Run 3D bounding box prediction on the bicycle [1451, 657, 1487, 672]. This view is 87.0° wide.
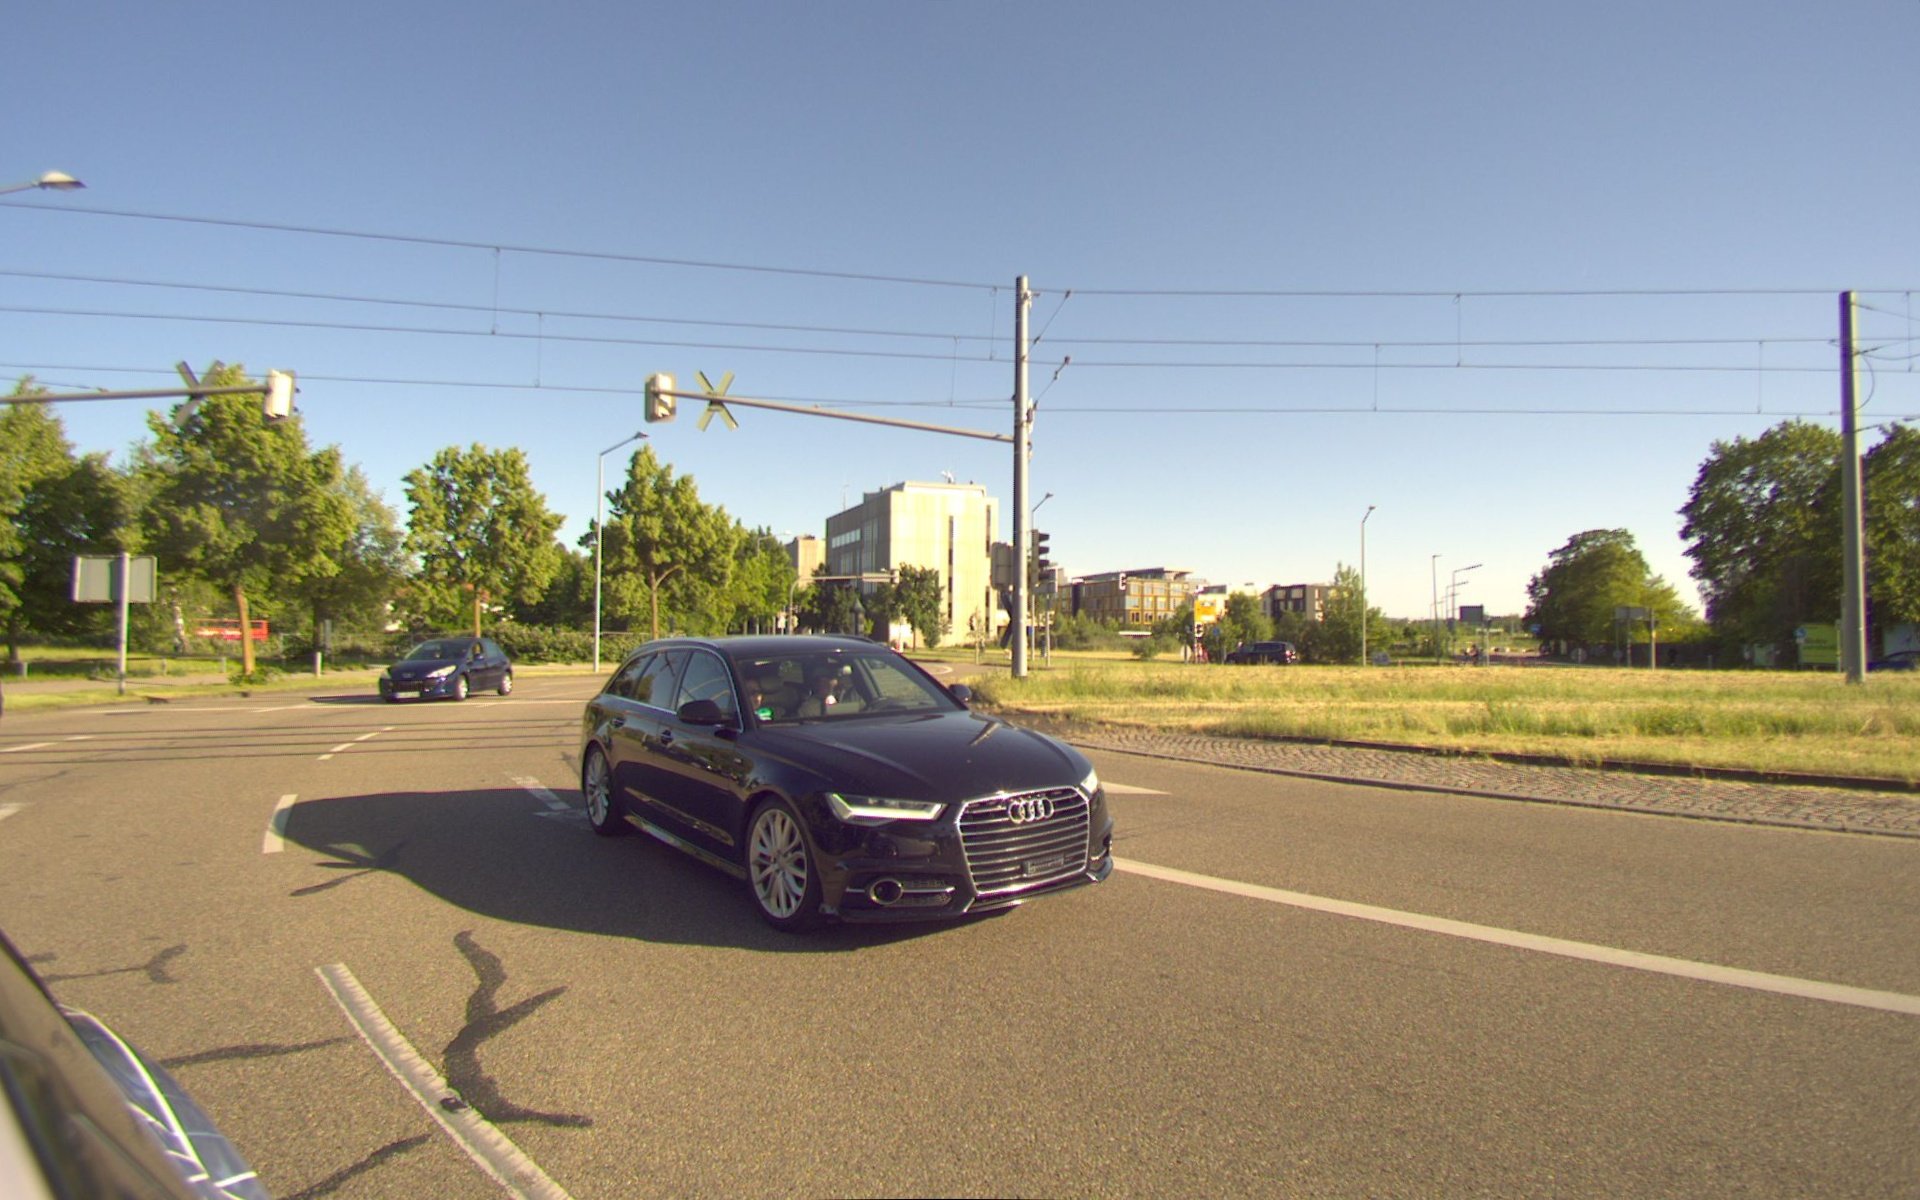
[{"bbox_3d":[35.163,4.456,69.941,2.251,0.995,0.656,-1,-3,27],"label":"bicycle"}]

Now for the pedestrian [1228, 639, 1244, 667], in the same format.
[{"bbox_3d":[20.419,3.913,74.839,0.942,2.021,0.581,-2,-4,37],"label":"pedestrian"}]

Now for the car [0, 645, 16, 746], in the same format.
[{"bbox_3d":[-14.386,1.309,12.790,1.610,1.479,4.558,0,-3,-15],"label":"car"}]

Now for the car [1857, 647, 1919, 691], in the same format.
[{"bbox_3d":[40.863,2.927,43.048,1.748,1.799,3.921,2,-3,-44],"label":"car"}]

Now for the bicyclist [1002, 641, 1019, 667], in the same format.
[{"bbox_3d":[3.362,3.611,67.771,0.927,1.676,0.706,1,-2,-31],"label":"bicyclist"}]

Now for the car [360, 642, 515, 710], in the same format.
[{"bbox_3d":[-12.402,1.793,24.339,1.733,1.465,4.000,-1,-3,-1],"label":"car"}]

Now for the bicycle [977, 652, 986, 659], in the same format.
[{"bbox_3d":[2.415,6.275,114.795,0.483,0.859,1.894,1,-3,-18],"label":"bicycle"}]

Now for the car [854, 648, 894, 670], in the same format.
[{"bbox_3d":[-5.859,3.938,68.344,1.904,1.390,4.549,0,-2,-16],"label":"car"}]

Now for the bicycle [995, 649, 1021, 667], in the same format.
[{"bbox_3d":[3.200,3.880,67.651,1.627,1.137,0.706,1,-2,-31],"label":"bicycle"}]

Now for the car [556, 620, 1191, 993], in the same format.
[{"bbox_3d":[-1.039,0.910,6.541,1.768,1.454,5.029,1,-3,-35],"label":"car"}]

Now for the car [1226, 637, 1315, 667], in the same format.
[{"bbox_3d":[19.576,3.263,63.814,4.992,1.799,2.438,-1,-3,29],"label":"car"}]

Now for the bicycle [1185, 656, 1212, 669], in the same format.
[{"bbox_3d":[17.276,4.528,73.356,1.857,0.859,0.619,1,-3,-16],"label":"bicycle"}]

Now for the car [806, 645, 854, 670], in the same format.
[{"bbox_3d":[-8.321,3.629,64.489,1.695,1.390,4.082,-1,-1,-27],"label":"car"}]

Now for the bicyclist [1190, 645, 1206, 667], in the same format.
[{"bbox_3d":[17.228,4.060,73.361,0.909,1.529,0.619,1,-3,-16],"label":"bicyclist"}]

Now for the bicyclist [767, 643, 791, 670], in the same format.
[{"bbox_3d":[-10.609,3.316,59.356,0.877,1.574,1.072,-1,-3,45],"label":"bicyclist"}]

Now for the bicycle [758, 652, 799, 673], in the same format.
[{"bbox_3d":[-10.628,3.648,59.323,0.877,1.164,2.184,-1,-3,45],"label":"bicycle"}]

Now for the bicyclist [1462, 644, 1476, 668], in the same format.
[{"bbox_3d":[35.167,3.864,69.938,0.830,1.592,0.656,-1,-3,27],"label":"bicyclist"}]

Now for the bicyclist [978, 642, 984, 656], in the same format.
[{"bbox_3d":[2.404,5.601,114.852,0.425,1.576,0.854,1,-3,-18],"label":"bicyclist"}]

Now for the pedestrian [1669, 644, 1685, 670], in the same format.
[{"bbox_3d":[59.023,4.688,83.316,0.895,2.029,0.813,0,-2,21],"label":"pedestrian"}]

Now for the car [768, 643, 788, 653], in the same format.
[{"bbox_3d":[-27.969,7.364,155.275,1.974,1.553,4.339,1,-3,-26],"label":"car"}]
